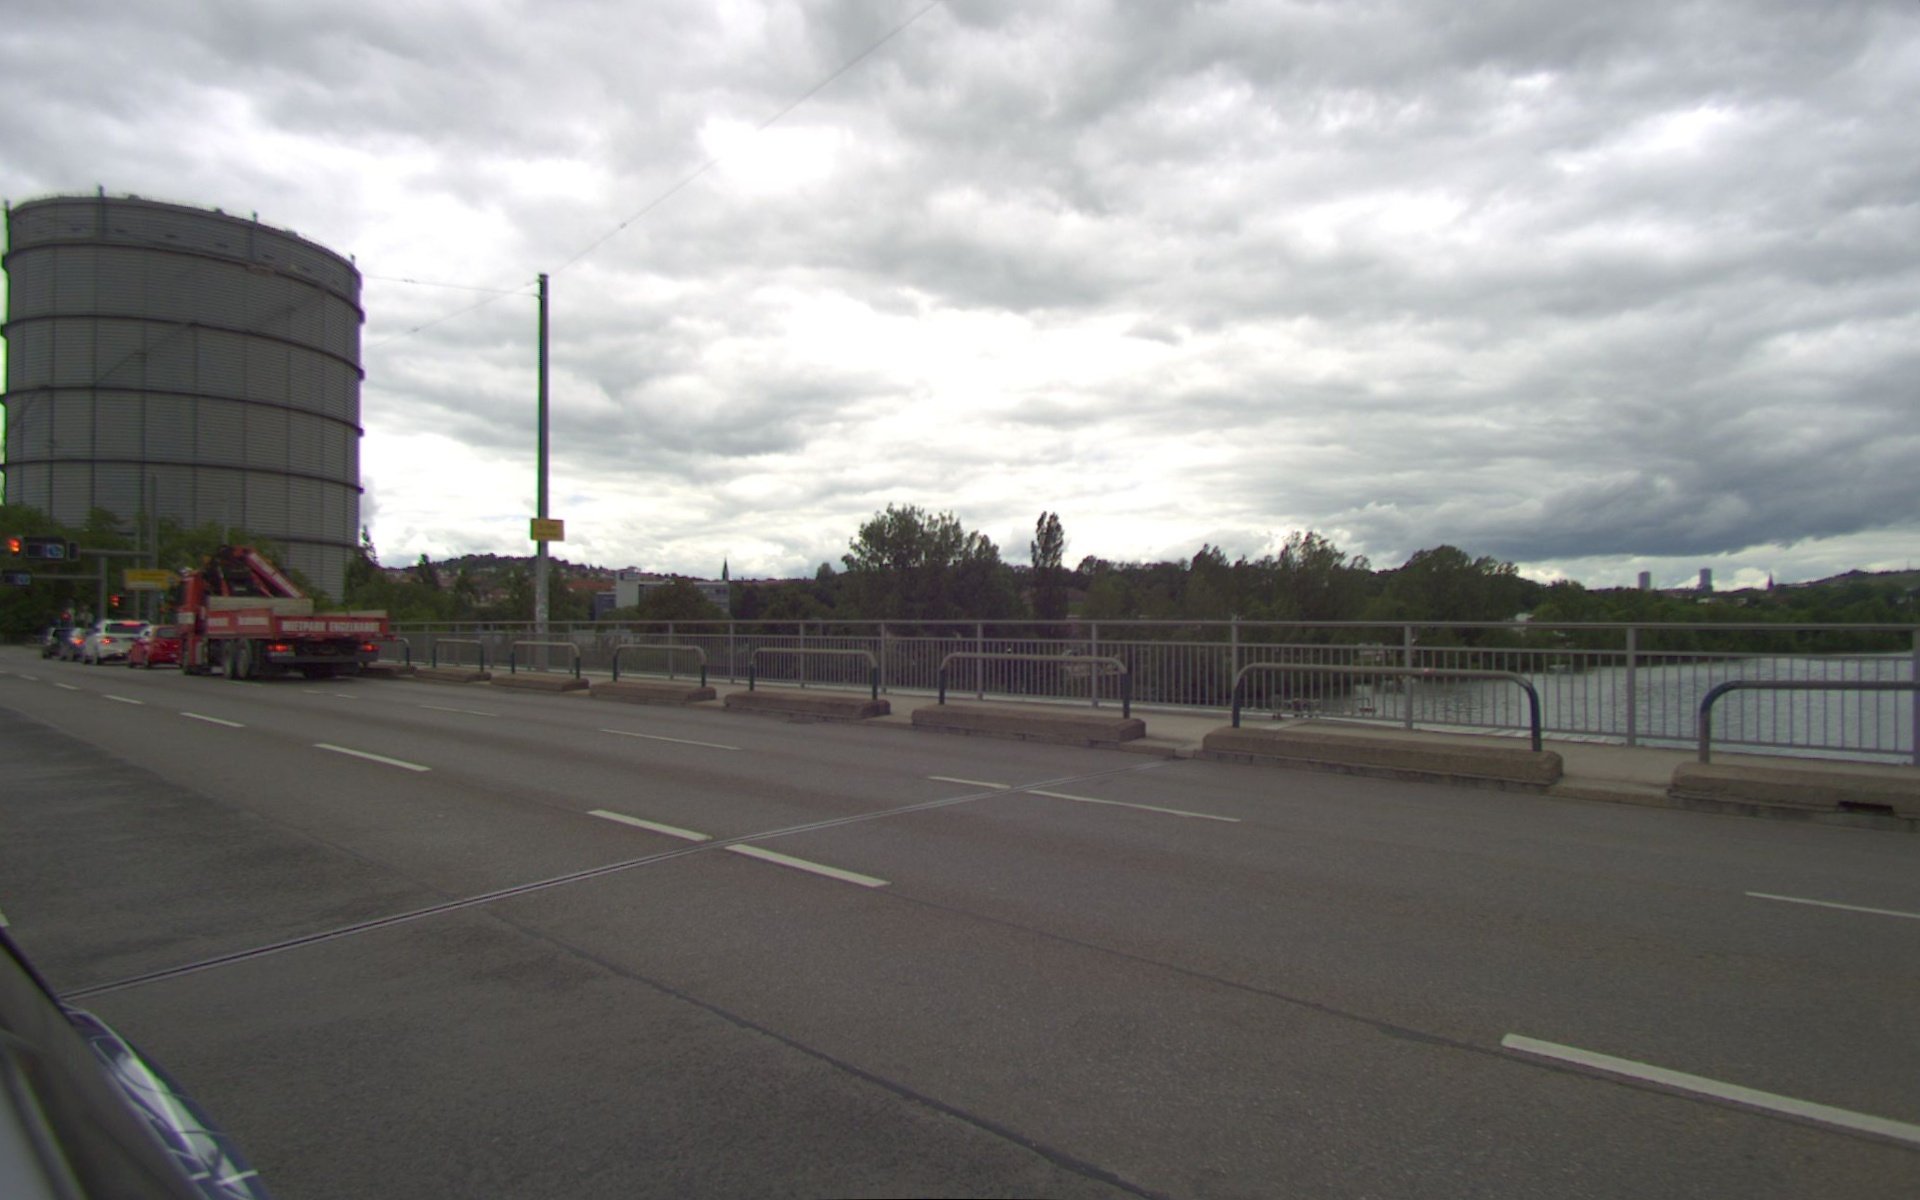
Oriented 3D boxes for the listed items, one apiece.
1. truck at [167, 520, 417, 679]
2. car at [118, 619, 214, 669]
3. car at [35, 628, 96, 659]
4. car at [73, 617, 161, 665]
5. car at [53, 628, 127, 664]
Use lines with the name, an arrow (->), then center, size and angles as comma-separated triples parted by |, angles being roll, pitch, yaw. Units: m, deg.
truck -> -18.230, 0.162, 27.231 | 9.976, 3.593, 2.974 | -2, -3, 41
car -> -27.508, 1.515, 35.033 | 4.013, 1.615, 1.860 | -2, -3, 41
car -> -44.396, 2.159, 50.215 | 3.870, 1.516, 1.816 | -2, -3, 42
car -> -33.054, 1.613, 39.618 | 4.799, 1.775, 1.860 | -2, -3, 41
car -> -38.817, 2.037, 45.106 | 4.514, 1.516, 1.816 | -2, -3, 41
